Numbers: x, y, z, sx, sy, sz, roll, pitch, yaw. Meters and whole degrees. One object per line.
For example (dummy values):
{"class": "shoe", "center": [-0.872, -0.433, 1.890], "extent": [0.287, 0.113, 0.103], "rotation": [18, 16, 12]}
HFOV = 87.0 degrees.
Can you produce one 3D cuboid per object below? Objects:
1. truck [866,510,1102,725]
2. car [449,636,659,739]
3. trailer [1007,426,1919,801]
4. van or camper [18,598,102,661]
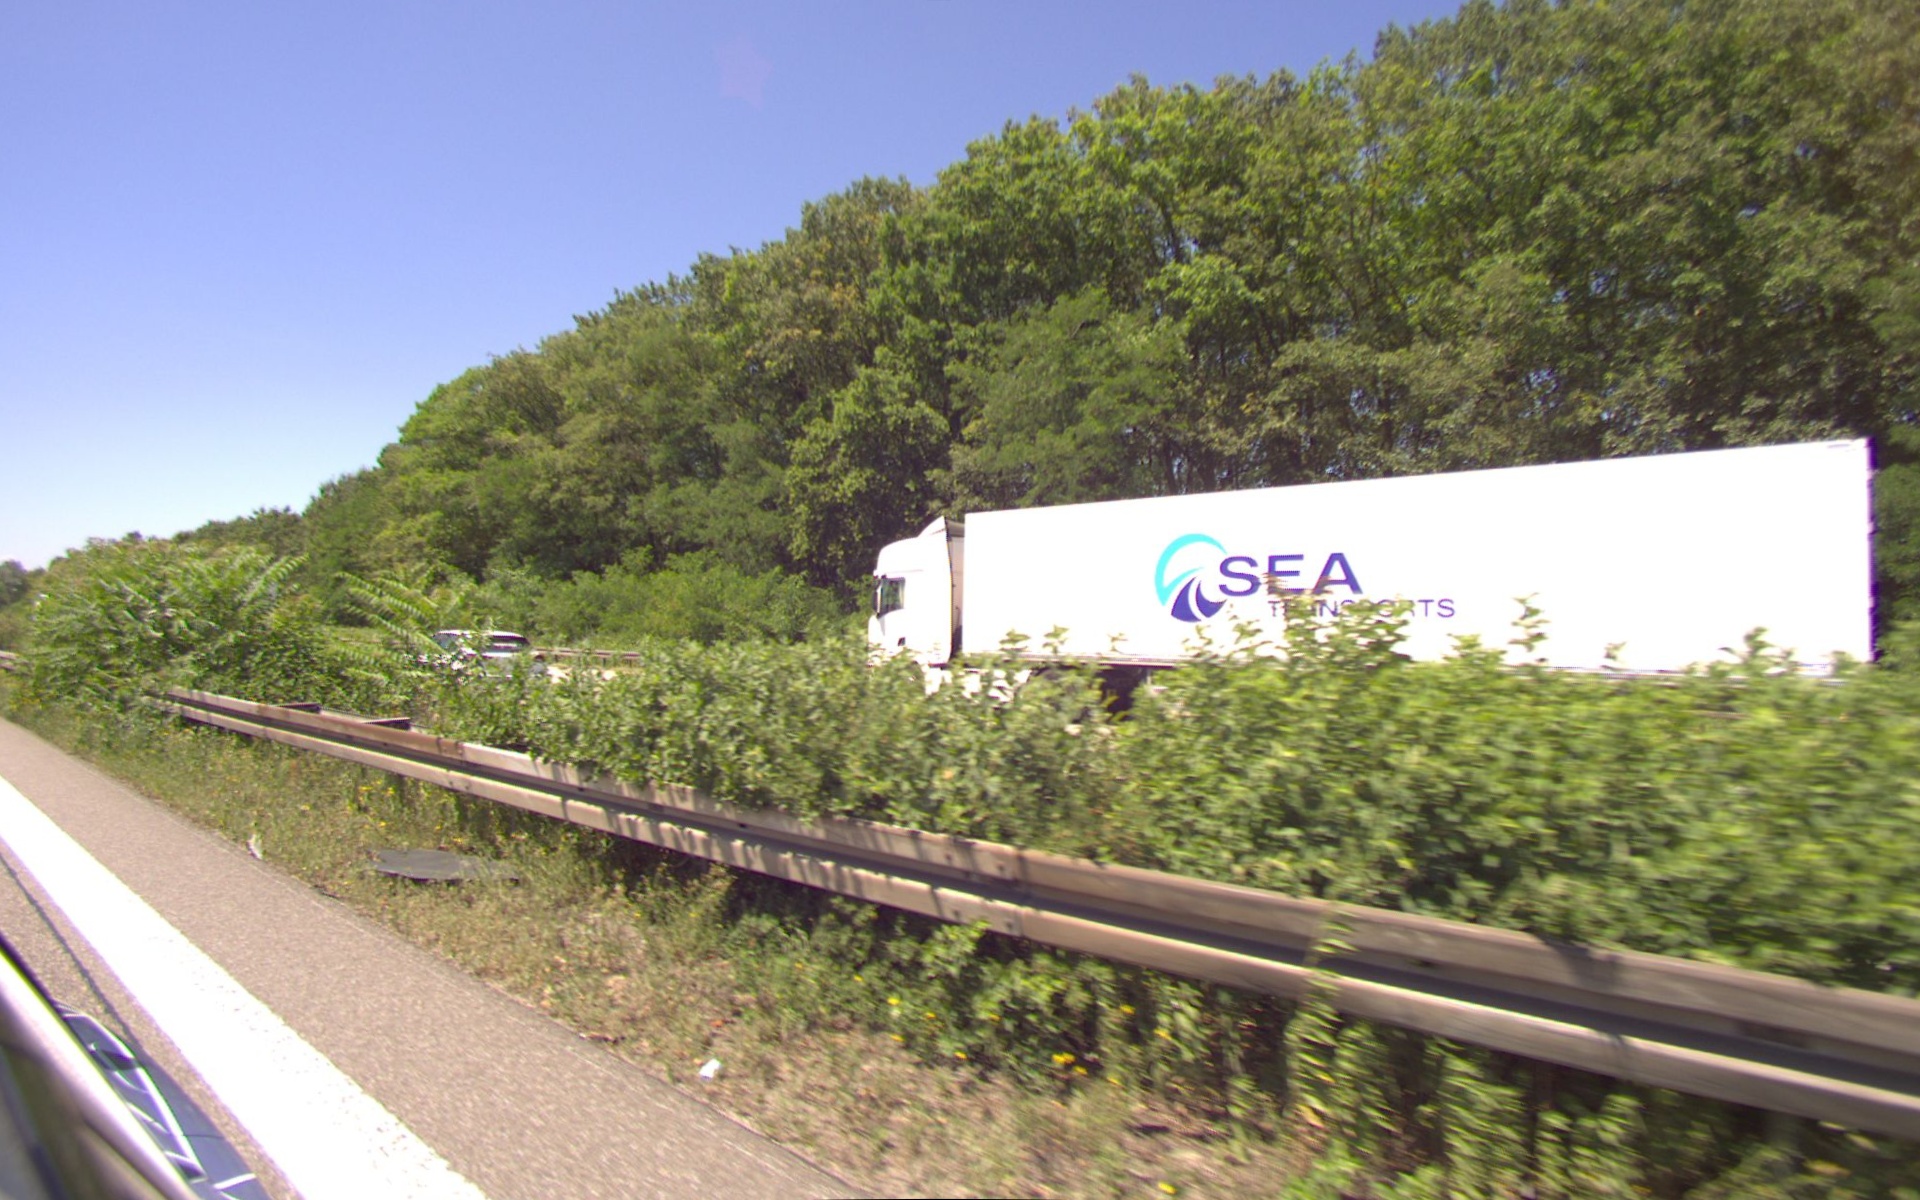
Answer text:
{"class": "truck", "center": [0.480, 0.415, 21.601], "extent": [4.183, 4.065, 2.804], "rotation": [-1, -3, 41]}
{"class": "car", "center": [-7.052, 1.402, 17.405], "extent": [3.998, 1.522, 1.751], "rotation": [-1, -1, 41]}
{"class": "trailer", "center": [6.676, 0.290, 16.125], "extent": [12.908, 4.065, 2.804], "rotation": [-1, -3, 41]}
{"class": "van or camper", "center": [-43.562, 1.411, 48.923], "extent": [6.994, 2.868, 1.973], "rotation": [-1, -2, 40]}
